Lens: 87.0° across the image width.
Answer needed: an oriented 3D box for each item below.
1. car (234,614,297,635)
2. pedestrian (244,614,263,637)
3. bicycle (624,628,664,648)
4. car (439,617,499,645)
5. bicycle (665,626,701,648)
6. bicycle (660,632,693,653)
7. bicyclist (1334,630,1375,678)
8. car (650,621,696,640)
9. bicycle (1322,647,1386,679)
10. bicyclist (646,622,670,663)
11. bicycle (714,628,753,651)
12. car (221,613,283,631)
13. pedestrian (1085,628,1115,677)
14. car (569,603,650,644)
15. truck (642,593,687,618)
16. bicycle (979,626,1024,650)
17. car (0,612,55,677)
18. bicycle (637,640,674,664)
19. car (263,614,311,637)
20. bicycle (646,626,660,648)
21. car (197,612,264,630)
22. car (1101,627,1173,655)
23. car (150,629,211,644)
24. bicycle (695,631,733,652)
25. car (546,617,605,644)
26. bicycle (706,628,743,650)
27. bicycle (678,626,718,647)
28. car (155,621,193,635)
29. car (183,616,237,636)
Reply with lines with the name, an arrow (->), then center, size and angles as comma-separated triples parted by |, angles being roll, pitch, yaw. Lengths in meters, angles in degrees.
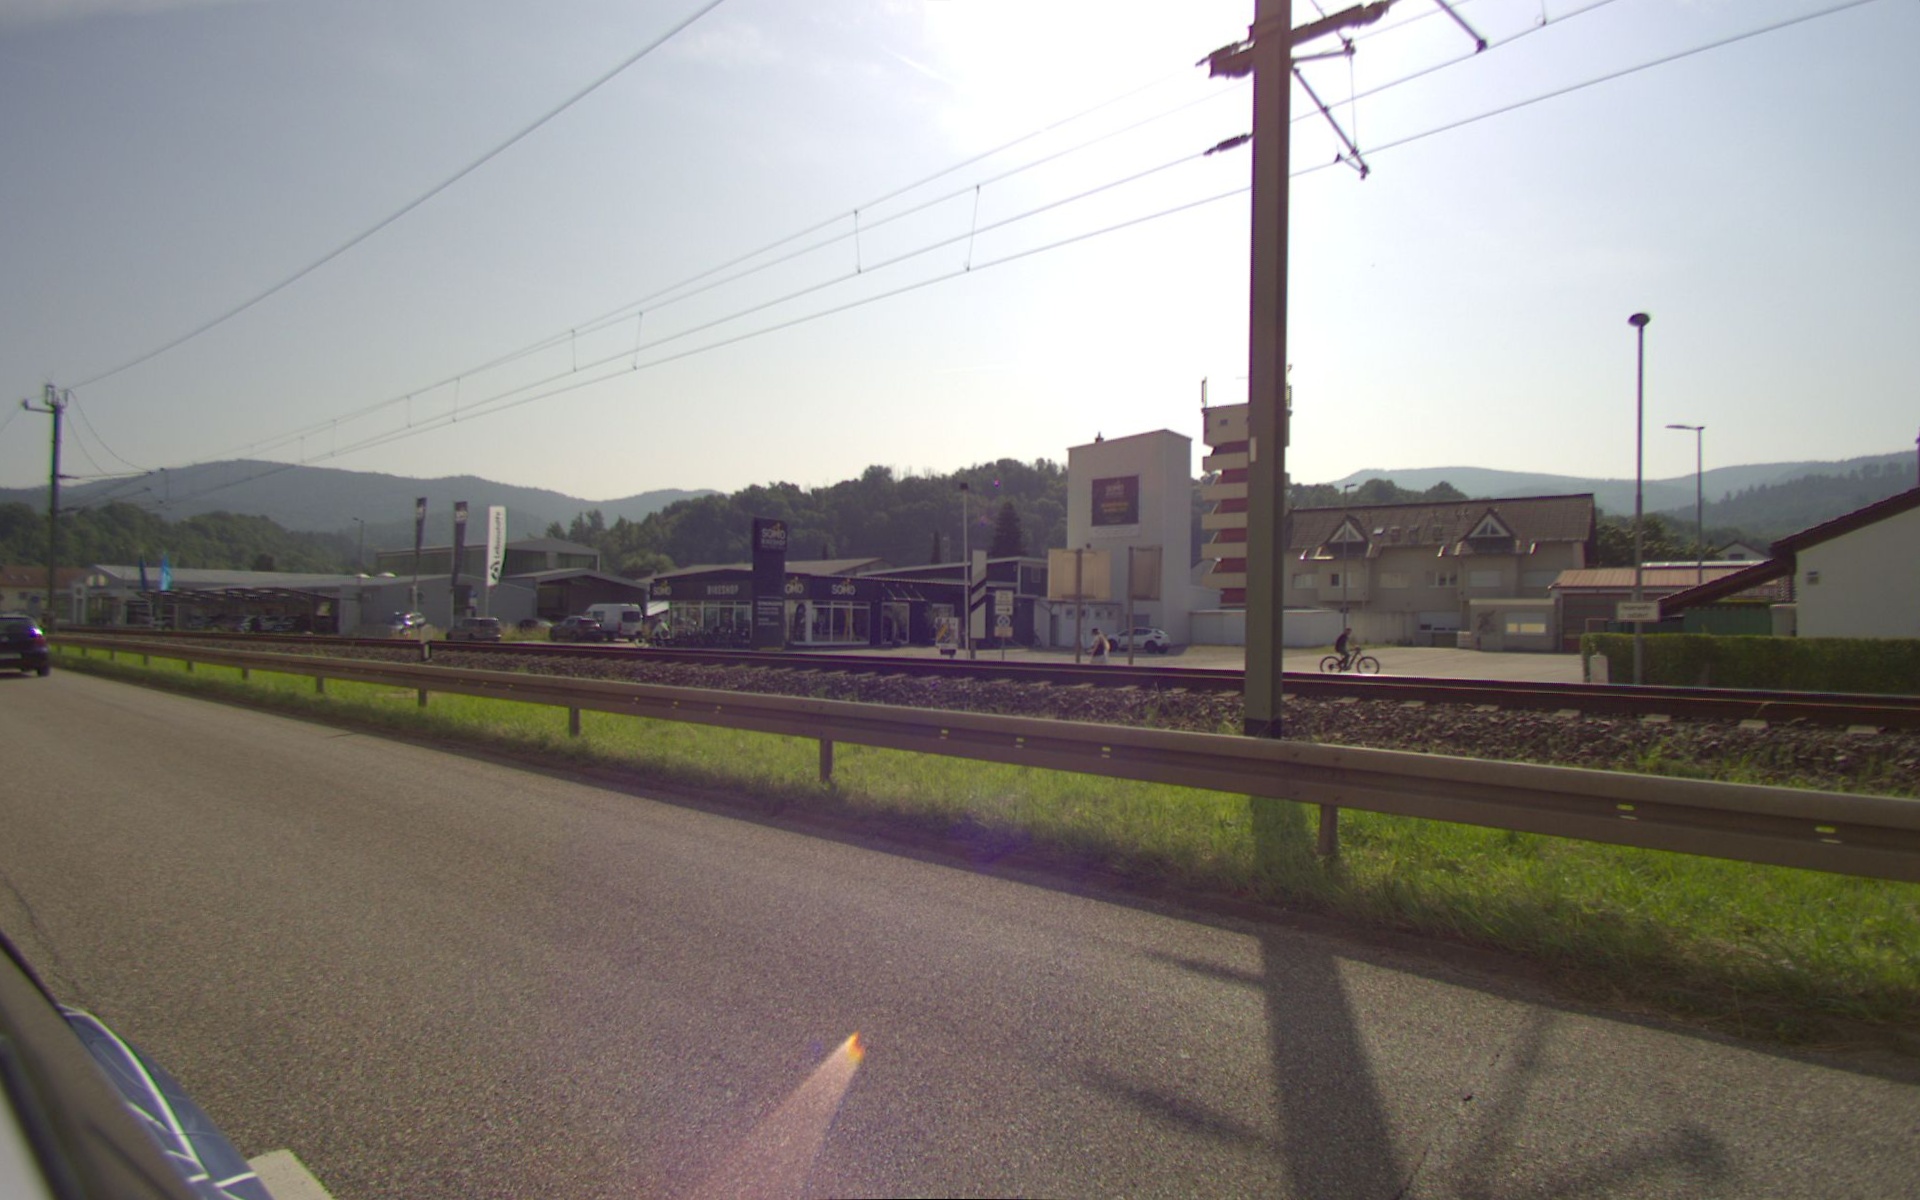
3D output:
car -> -56.564, 1.995, 82.506 | 1.659, 1.539, 3.922 | -1, 1, 35
pedestrian -> -54.062, 1.954, 77.435 | 0.822, 1.747, 0.805 | 1, -3, -7
bicycle -> -18.439, 2.235, 59.066 | 0.729, 1.139, 2.146 | 0, -2, 38
car -> -31.041, 1.939, 63.943 | 4.361, 1.701, 1.505 | 0, 0, 36
bicycle -> -14.854, 1.983, 54.241 | 2.171, 1.139, 0.721 | 0, -2, 37
bicycle -> -16.217, 2.411, 57.903 | 2.173, 1.139, 0.720 | 0, -2, 41
bicyclist -> 13.832, 1.893, 35.501 | 1.146, 1.632, 0.737 | -1, -3, 42
car -> -21.372, 2.247, 75.277 | 3.517, 1.368, 1.499 | 0, -2, 39
bicycle -> 13.799, 2.194, 35.507 | 1.962, 1.025, 0.747 | -1, -3, 42
bicyclist -> -12.150, 1.706, 40.703 | 0.830, 1.659, 0.527 | -1, -2, 37
bicycle -> -11.767, 2.035, 52.696 | 0.727, 1.139, 2.153 | 0, -2, 28
car -> -58.301, 1.788, 83.354 | 1.499, 1.335, 3.922 | -1, 1, 35
pedestrian -> 3.953, 1.473, 28.565 | 0.672, 1.342, 0.568 | -1, -2, 34
car -> -24.953, 1.654, 71.984 | 6.149, 2.653, 2.351 | 1, -1, 36
truck -> -30.605, 0.526, 104.786 | 4.632, 2.443, 1.976 | 1, -1, 35
bicycle -> 2.439, 2.196, 59.229 | 0.987, 1.298, 3.406 | 0, 0, 34
car -> -22.459, 0.997, 23.415 | 4.118, 1.413, 1.745 | -1, -2, 41
bicycle -> -12.282, 2.100, 40.783 | 1.707, 0.930, 0.540 | -1, -2, 37
car -> -52.684, 1.985, 79.325 | 1.636, 1.634, 4.040 | -1, 1, -10
bicycle -> -17.109, 2.045, 56.397 | 0.717, 1.139, 2.329 | 1, -2, -18
car -> -62.653, 1.803, 86.967 | 4.372, 1.517, 1.847 | 0, -1, 0
car -> 10.555, 2.418, 60.545 | 3.979, 1.610, 1.693 | -1, -2, 41
car -> -72.053, 3.334, 93.540 | 4.145, 1.352, 1.849 | 0, -1, -4
bicycle -> -13.455, 2.251, 55.373 | 0.727, 1.139, 2.153 | 0, -2, 28
car -> -26.271, 2.055, 69.080 | 3.992, 1.676, 1.851 | 1, -1, 36
bicycle -> -12.786, 2.115, 54.959 | 0.727, 1.139, 2.153 | 0, -2, 28
bicycle -> -14.456, 2.017, 55.900 | 0.729, 1.139, 2.146 | 0, -2, 38
car -> -75.477, 2.683, 97.242 | 1.815, 1.396, 4.538 | 1, -2, -23
car -> -67.268, 2.329, 90.807 | 1.820, 1.539, 4.275 | -1, 1, -3
